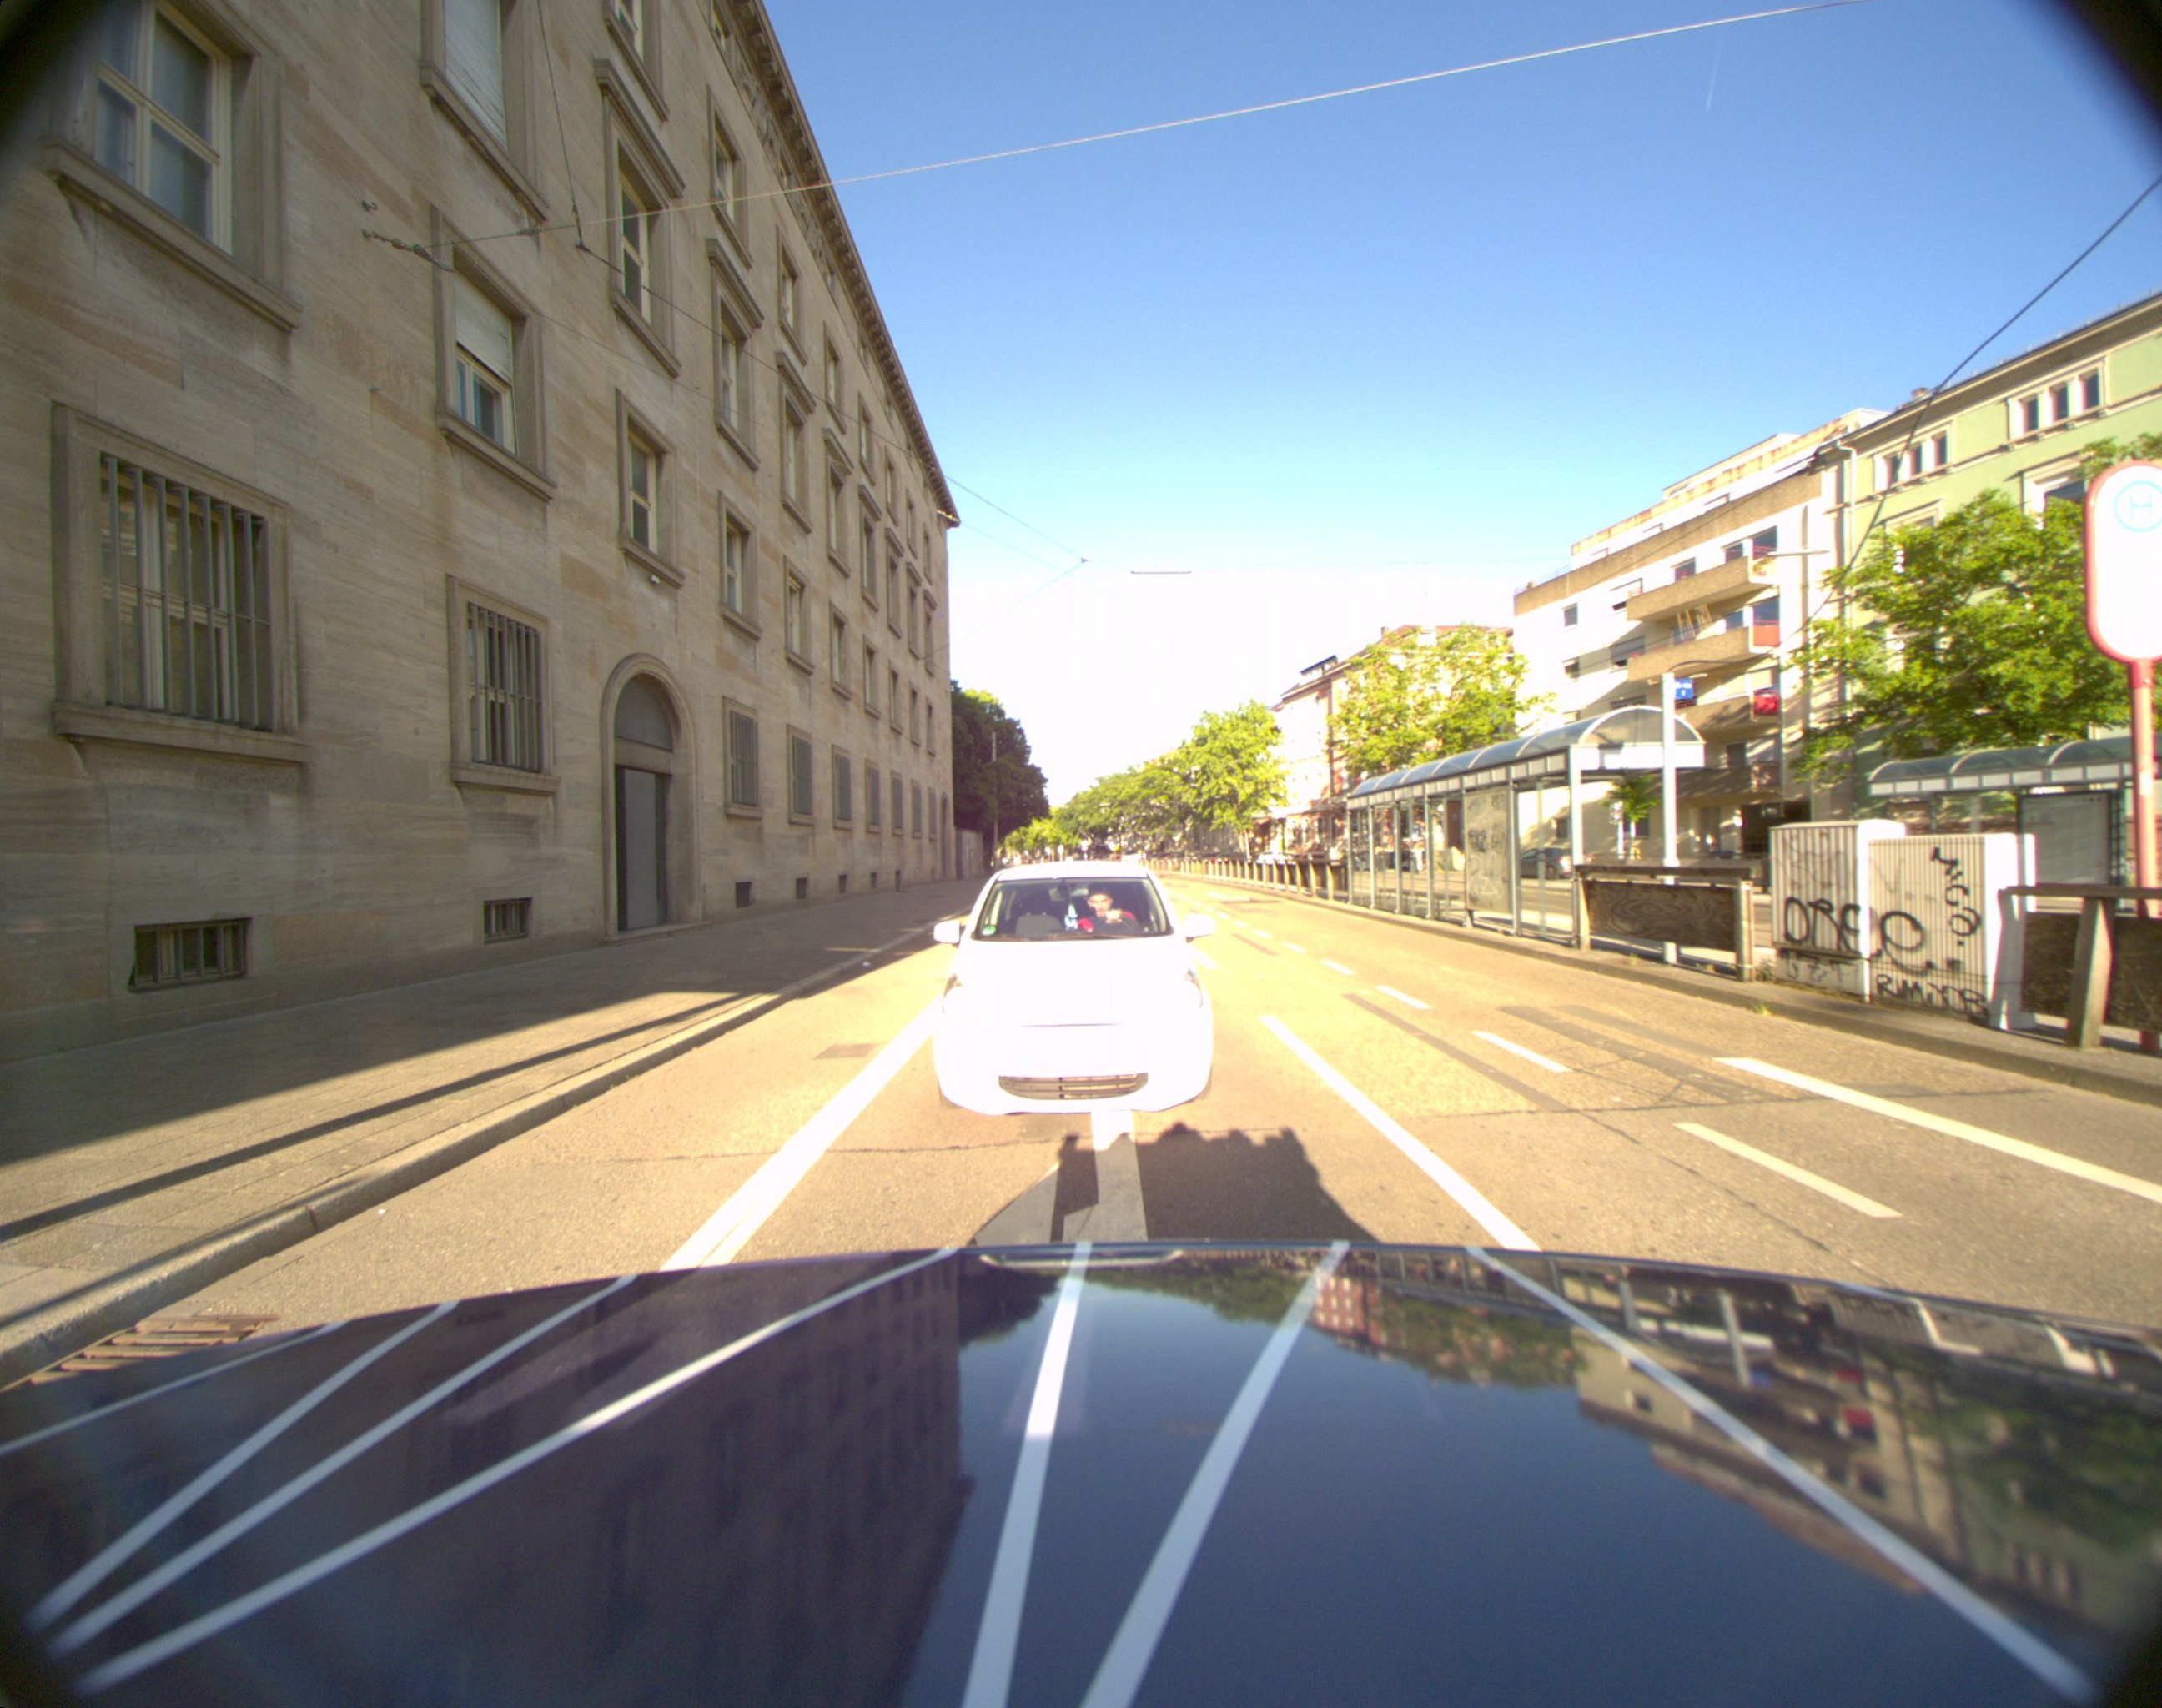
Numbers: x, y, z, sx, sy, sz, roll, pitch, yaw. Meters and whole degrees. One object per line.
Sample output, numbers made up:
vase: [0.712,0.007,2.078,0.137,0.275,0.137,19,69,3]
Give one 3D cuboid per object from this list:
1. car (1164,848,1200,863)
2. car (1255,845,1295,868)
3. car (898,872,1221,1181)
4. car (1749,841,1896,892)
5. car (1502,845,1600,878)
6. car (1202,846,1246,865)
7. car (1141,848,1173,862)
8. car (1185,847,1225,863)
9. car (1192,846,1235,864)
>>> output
car: [11.431,0.141,86.090,3.864,1.583,2.001,-1,0,5]
car: [16.300,0.161,63.678,1.994,1.713,4.007,0,2,34]
car: [-0.084,0.921,5.690,1.612,1.450,3.667,-1,0,1]
car: [23.930,0.368,24.552,3.796,1.526,1.772,-1,0,-17]
car: [20.841,0.314,33.835,1.615,1.387,3.516,-1,0,-19]
car: [13.632,0.126,72.593,3.996,1.674,2.000,-1,0,4]
car: [9.559,0.126,95.716,3.864,1.583,2.001,-1,0,4]
car: [13.153,0.082,80.531,3.996,1.674,2.000,-1,0,4]
car: [13.346,0.110,76.727,3.996,1.674,2.000,-1,0,4]
